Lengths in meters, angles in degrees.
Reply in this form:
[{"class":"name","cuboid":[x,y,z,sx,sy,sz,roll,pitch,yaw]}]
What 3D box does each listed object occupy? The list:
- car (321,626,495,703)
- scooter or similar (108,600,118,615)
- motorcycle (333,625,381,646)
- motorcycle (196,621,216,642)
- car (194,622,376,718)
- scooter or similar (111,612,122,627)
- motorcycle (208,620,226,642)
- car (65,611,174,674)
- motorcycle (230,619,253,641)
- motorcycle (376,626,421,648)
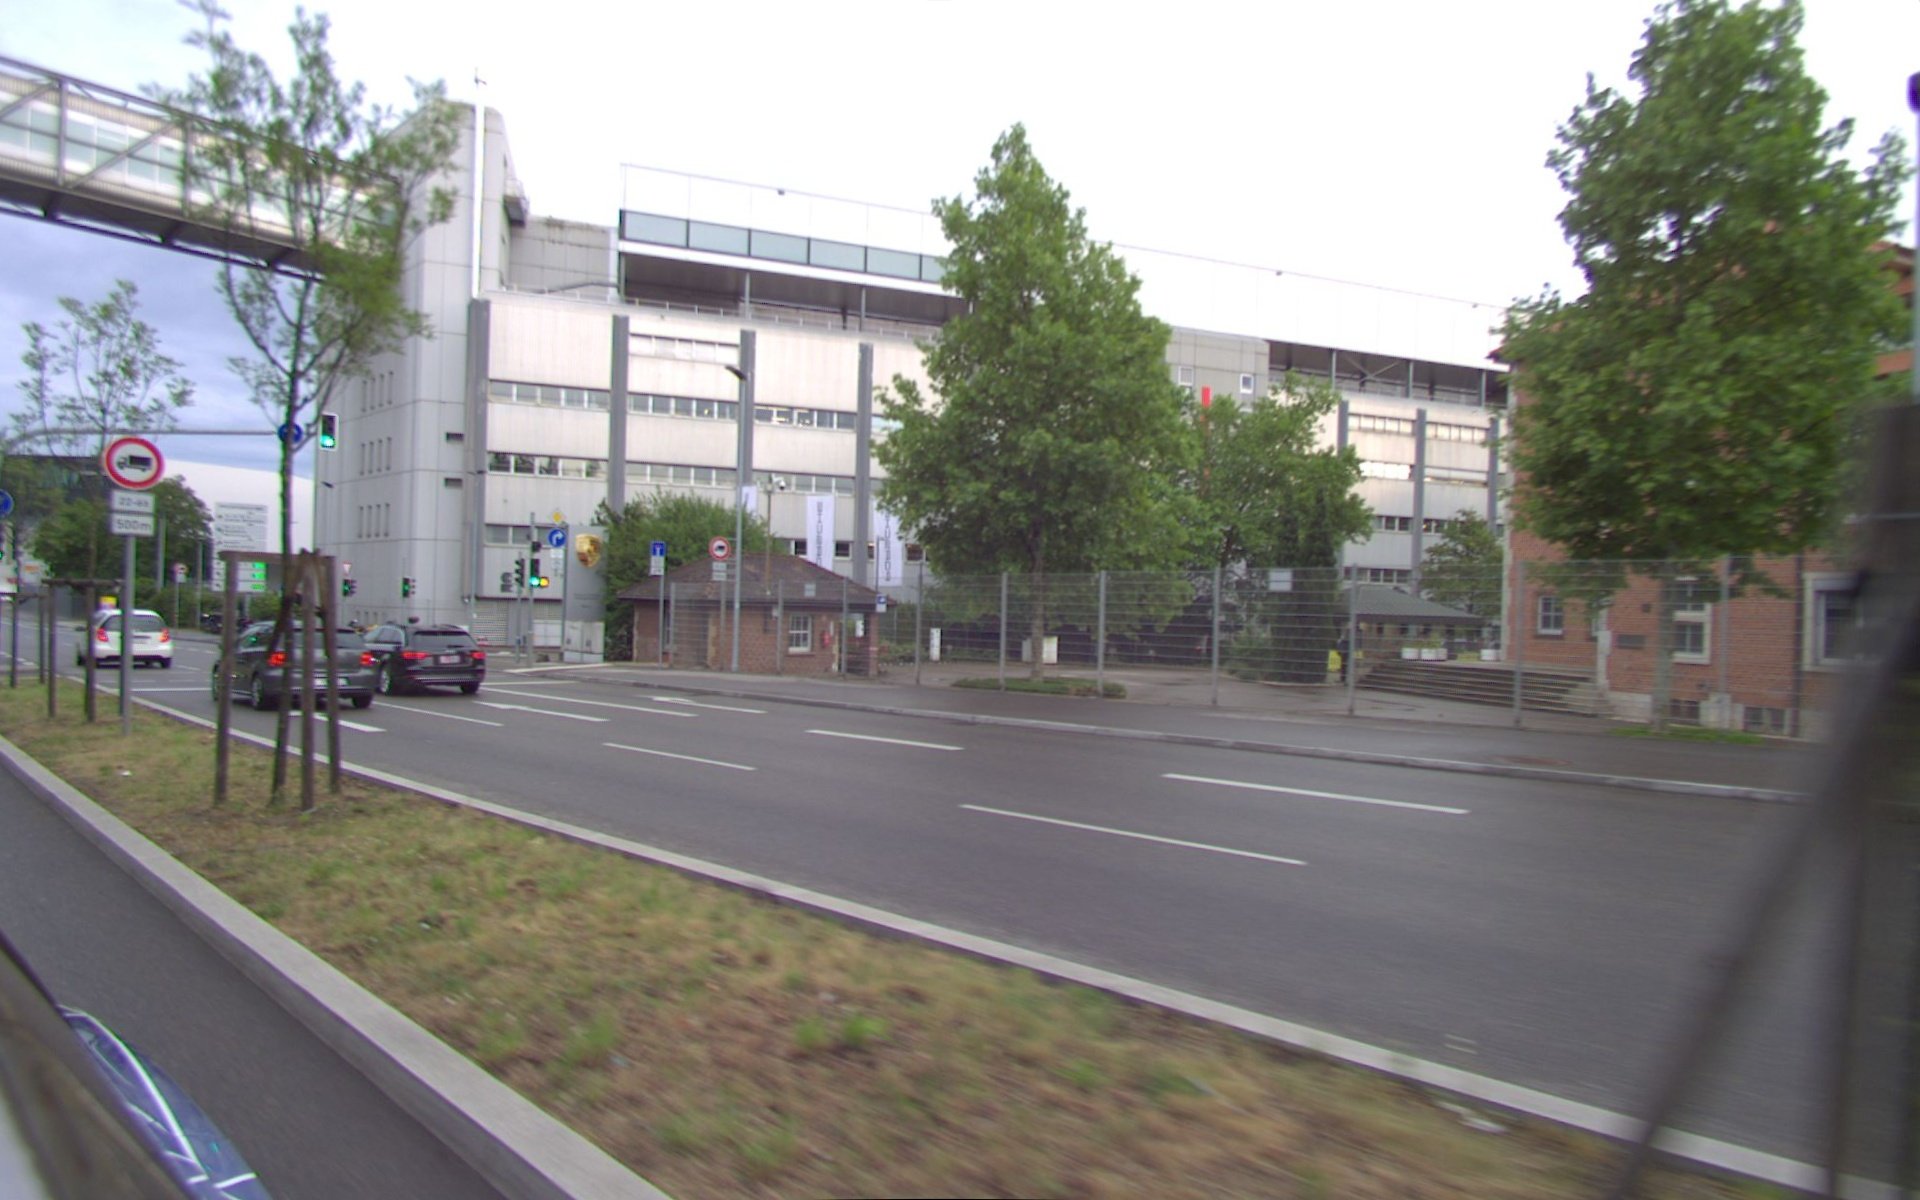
[{"class":"car","cuboid":[-11.784,1.304,21.460,4.613,1.414,1.754,0,-3,42]},{"class":"scooter or similar","cuboid":[-67.207,0.590,80.278,1.568,1.138,0.389,0,-2,42]},{"class":"motorcycle","cuboid":[-30.964,1.813,52.006,2.144,1.035,0.625,1,-2,7]},{"class":"motorcycle","cuboid":[-46.770,1.950,62.776,1.967,1.224,0.618,0,-2,42]},{"class":"car","cuboid":[-11.584,1.111,17.268,4.110,1.414,1.561,0,-3,42]},{"class":"scooter or similar","cuboid":[-65.998,1.552,79.179,1.568,1.138,0.389,0,-2,42]},{"class":"motorcycle","cuboid":[-44.699,1.826,60.889,0.617,1.277,2.173,0,-1,-43]},{"class":"car","cuboid":[-23.684,1.162,28.459,4.485,1.601,1.752,0,-2,43]},{"class":"motorcycle","cuboid":[-40.798,1.700,57.461,2.037,1.171,0.561,0,-2,40]},{"class":"motorcycle","cuboid":[-28.667,1.884,51.684,2.150,1.035,0.624,1,-2,15]}]
